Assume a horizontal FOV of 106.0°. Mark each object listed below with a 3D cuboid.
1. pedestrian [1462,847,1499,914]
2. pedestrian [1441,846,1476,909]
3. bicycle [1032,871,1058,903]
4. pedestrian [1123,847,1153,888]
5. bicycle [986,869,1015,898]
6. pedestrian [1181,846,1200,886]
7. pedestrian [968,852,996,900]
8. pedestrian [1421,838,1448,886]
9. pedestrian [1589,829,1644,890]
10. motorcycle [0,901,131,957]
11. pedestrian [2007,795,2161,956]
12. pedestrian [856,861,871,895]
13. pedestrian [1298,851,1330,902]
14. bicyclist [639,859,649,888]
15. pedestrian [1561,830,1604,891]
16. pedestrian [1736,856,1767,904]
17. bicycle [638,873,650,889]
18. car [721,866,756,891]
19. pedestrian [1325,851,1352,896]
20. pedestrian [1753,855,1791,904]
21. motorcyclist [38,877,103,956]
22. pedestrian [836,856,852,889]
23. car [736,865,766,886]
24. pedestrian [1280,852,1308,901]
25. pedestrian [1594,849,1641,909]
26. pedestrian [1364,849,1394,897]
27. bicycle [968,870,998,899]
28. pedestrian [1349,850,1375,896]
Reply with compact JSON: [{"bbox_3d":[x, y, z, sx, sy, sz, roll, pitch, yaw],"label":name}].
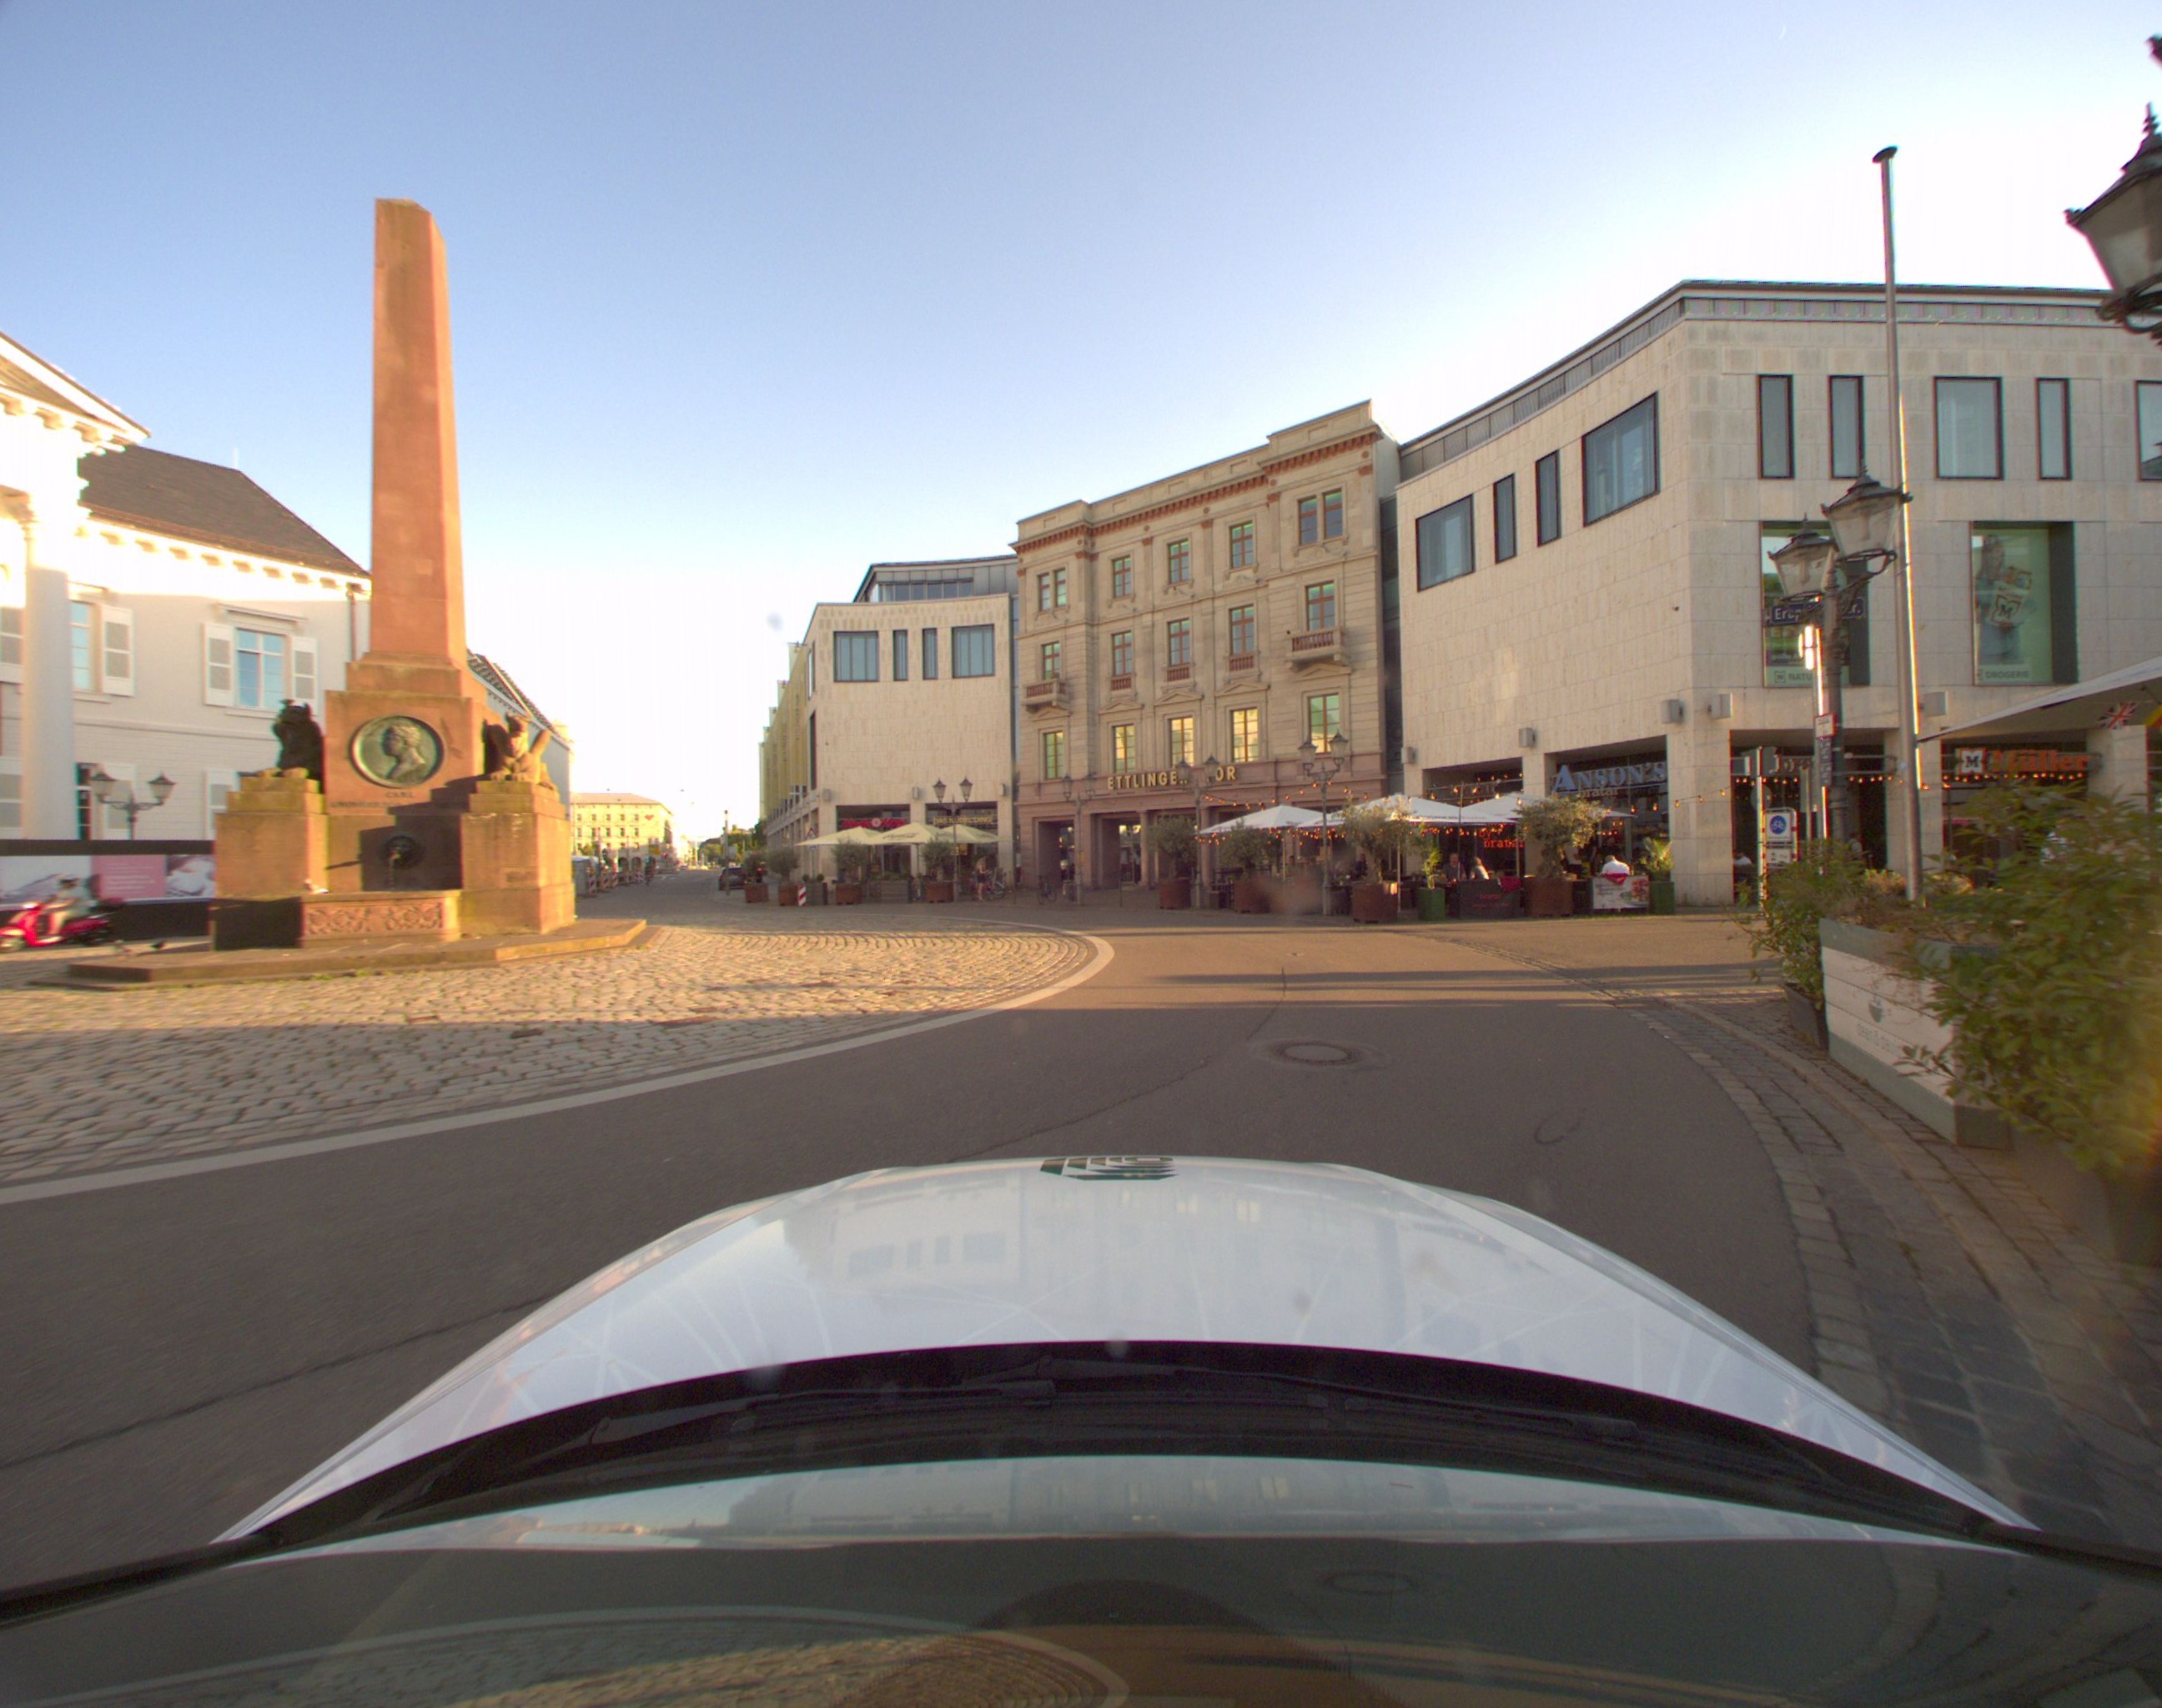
[{"bbox_3d":[9.128,0.596,18.625,0.527,1.478,0.562,-1,0,-3],"label":"pedestrian"},{"bbox_3d":[9.012,0.551,19.449,0.527,1.478,0.561,-1,0,-5],"label":"pedestrian"},{"bbox_3d":[-1.248,1.158,28.713,0.503,1.031,1.651,-1,0,12],"label":"bicycle"},{"bbox_3d":[2.643,0.621,37.823,0.977,1.822,0.977,-1,0,42],"label":"pedestrian"},{"bbox_3d":[-3.129,1.133,31.634,0.615,1.031,1.651,-1,0,12],"label":"bicycle"},{"bbox_3d":[4.832,0.514,35.909,0.616,1.728,0.549,-2,0,41],"label":"pedestrian"},{"bbox_3d":[-3.689,0.812,30.295,0.906,1.728,0.845,-1,0,-16],"label":"pedestrian"},{"bbox_3d":[12.832,0.286,29.574,0.620,1.721,0.687,-1,1,-28],"label":"pedestrian"},{"bbox_3d":[14.931,0.150,22.718,0.929,1.647,0.864,-1,0,-12],"label":"pedestrian"},{"bbox_3d":[-21.911,1.594,17.544,0.595,1.031,1.764,-1,0,19],"label":"motorcycle"},{"bbox_3d":[12.916,0.254,10.401,1.022,1.932,1.009,-1,0,-4],"label":"pedestrian"},{"bbox_3d":[-9.167,1.005,34.365,0.506,1.398,0.494,-1,0,-8],"label":"pedestrian"},{"bbox_3d":[6.998,0.671,24.455,0.589,1.478,0.679,-1,0,-21],"label":"pedestrian"},{"bbox_3d":[-33.911,1.515,63.204,0.602,2.242,0.797,-1,0,-23],"label":"bicyclist"},{"bbox_3d":[13.878,0.182,22.538,0.694,1.647,0.689,-1,0,-13],"label":"pedestrian"},{"bbox_3d":[15.912,0.604,19.336,0.544,1.111,0.540,-2,0,39],"label":"pedestrian"},{"bbox_3d":[-33.908,2.089,63.209,0.602,1.138,1.742,-1,0,-23],"label":"bicycle"},{"bbox_3d":[-22.465,1.576,53.503,2.002,1.464,3.970,-1,0,-22],"label":"car"},{"bbox_3d":[8.494,0.634,26.836,0.590,1.478,0.621,-1,0,-12],"label":"pedestrian"},{"bbox_3d":[16.702,0.600,19.690,0.498,1.156,0.468,-1,0,-15],"label":"pedestrian"},{"bbox_3d":[-21.891,1.340,17.648,0.595,1.652,0.695,-1,0,19],"label":"motorcyclist"},{"bbox_3d":[-13.143,1.034,45.128,0.712,1.787,0.639,-1,0,-31],"label":"pedestrian"},{"bbox_3d":[-24.967,1.613,61.645,2.002,1.464,3.970,-1,0,-22],"label":"car"},{"bbox_3d":[6.603,0.685,25.246,0.546,1.478,0.619,-1,0,-22],"label":"pedestrian"},{"bbox_3d":[12.103,0.543,18.387,0.546,1.310,0.723,-1,0,-5],"label":"pedestrian"},{"bbox_3d":[9.540,0.602,26.091,0.627,1.478,0.617,-1,0,-34],"label":"pedestrian"},{"bbox_3d":[-3.803,1.166,31.717,0.595,1.031,1.651,-1,0,12],"label":"bicycle"},{"bbox_3d":[9.341,0.619,27.093,0.544,1.478,0.621,-1,0,-12],"label":"pedestrian"}]
